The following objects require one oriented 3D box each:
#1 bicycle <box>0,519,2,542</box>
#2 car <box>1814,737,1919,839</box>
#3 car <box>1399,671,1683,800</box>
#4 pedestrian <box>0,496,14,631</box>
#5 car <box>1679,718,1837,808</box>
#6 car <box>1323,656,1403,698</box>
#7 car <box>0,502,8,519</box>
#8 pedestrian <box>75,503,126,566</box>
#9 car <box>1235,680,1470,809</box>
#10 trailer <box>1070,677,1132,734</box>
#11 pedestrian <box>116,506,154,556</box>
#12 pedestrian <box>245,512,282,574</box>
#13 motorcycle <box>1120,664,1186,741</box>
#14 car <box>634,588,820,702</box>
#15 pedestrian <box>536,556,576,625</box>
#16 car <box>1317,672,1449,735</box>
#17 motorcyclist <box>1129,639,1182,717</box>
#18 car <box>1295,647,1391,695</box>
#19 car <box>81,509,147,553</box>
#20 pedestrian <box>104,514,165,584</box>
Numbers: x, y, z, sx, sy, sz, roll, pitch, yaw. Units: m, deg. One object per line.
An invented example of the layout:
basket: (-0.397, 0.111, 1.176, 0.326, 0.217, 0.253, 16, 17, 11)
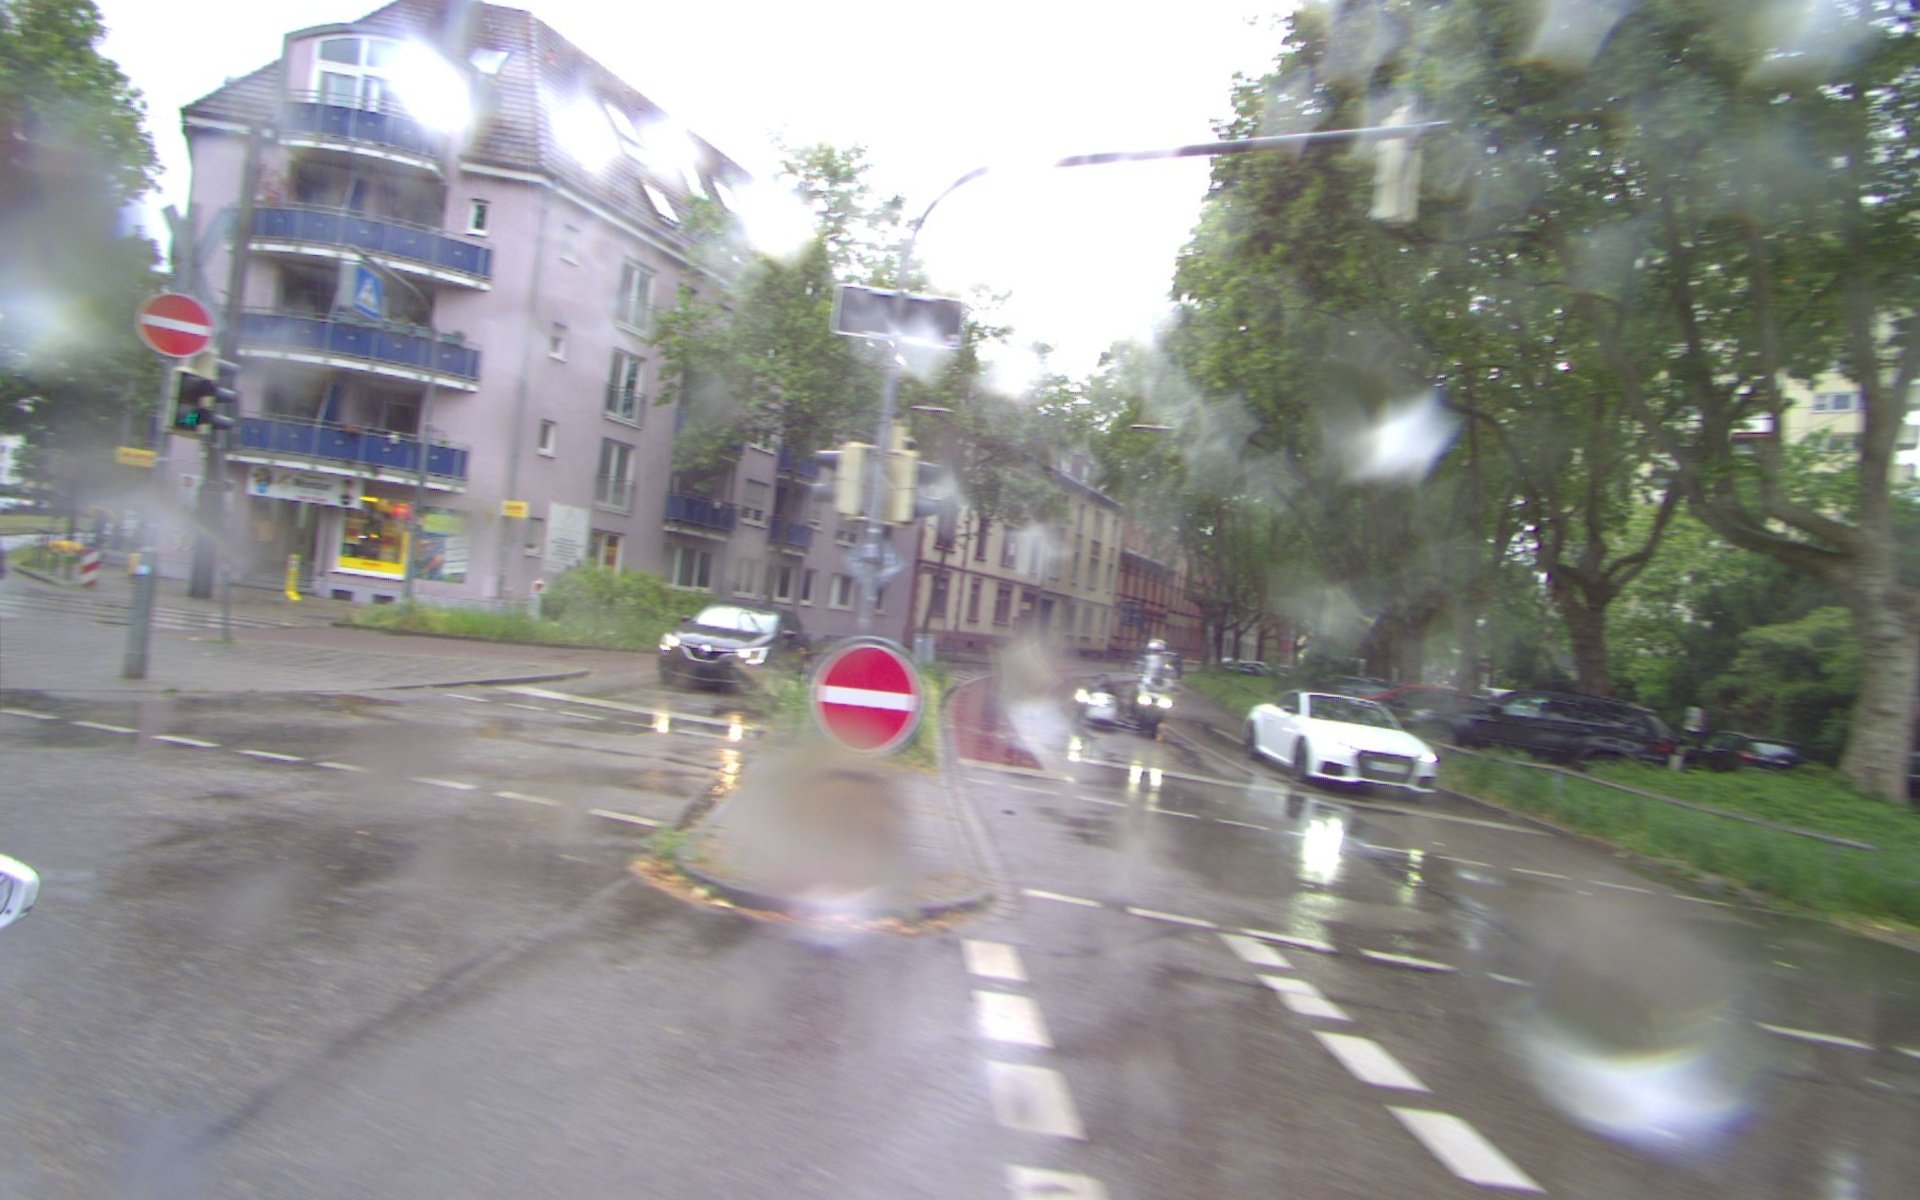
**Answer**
bicycle: (-21.136, -1.225, 21.238, 2.007, 1.188, 0.751, 7, 1, 31)
car: (18.623, 3.690, 18.803, 1.903, 1.626, 4.460, 7, -1, 10)
car: (11.346, 2.576, 19.852, 4.530, 1.684, 1.871, 7, -1, 34)
pedestrian: (-10.138, -0.312, 10.169, 0.751, 1.567, 0.689, 8, 1, 43)
car: (19.576, 3.945, 24.872, 1.806, 1.614, 3.489, 7, -1, 18)
car: (33.611, 6.403, 83.998, 1.981, 2.680, 5.921, 8, -1, -33)
car: (-82.251, -7.717, 85.215, 1.986, 1.414, 3.956, 8, -2, -40)
pedestrian: (-25.710, -1.962, 30.109, 0.948, 1.718, 0.912, 7, 0, -37)
car: (5.841, 2.112, 15.591, 1.868, 1.290, 4.174, 7, -2, 0)
trailer: (2.644, 1.979, 19.078, 1.007, 0.852, 1.484, 7, -1, 6)
pedestrian: (-30.562, -2.551, 37.277, 0.914, 1.718, 0.945, 7, 0, -39)
pedestrian: (-19.064, -1.548, 27.534, 0.465, 1.621, 0.593, 7, 0, -10)
motorcycle: (3.637, 1.913, 19.144, 0.864, 1.229, 2.076, 7, -1, 5)
car: (-3.842, 0.733, 17.384, 1.957, 1.478, 4.179, 7, -1, 2)
pedestrian: (-11.239, -0.265, 28.019, 0.630, 1.826, 0.622, 7, 1, 5)
car: (13.882, 3.365, 33.191, 3.772, 1.439, 1.885, 7, 0, 22)
motorcyclist: (3.689, 1.467, 19.068, 0.744, 1.367, 0.755, 7, 0, 4)
car: (25.170, 4.631, 66.372, 2.210, 2.429, 5.562, 8, -1, -30)
car: (-39.316, -3.224, 46.841, 1.983, 1.694, 3.960, 7, -1, -37)
pedestrian: (-20.406, -1.250, 24.887, 0.986, 1.578, 0.776, 7, 0, -36)
